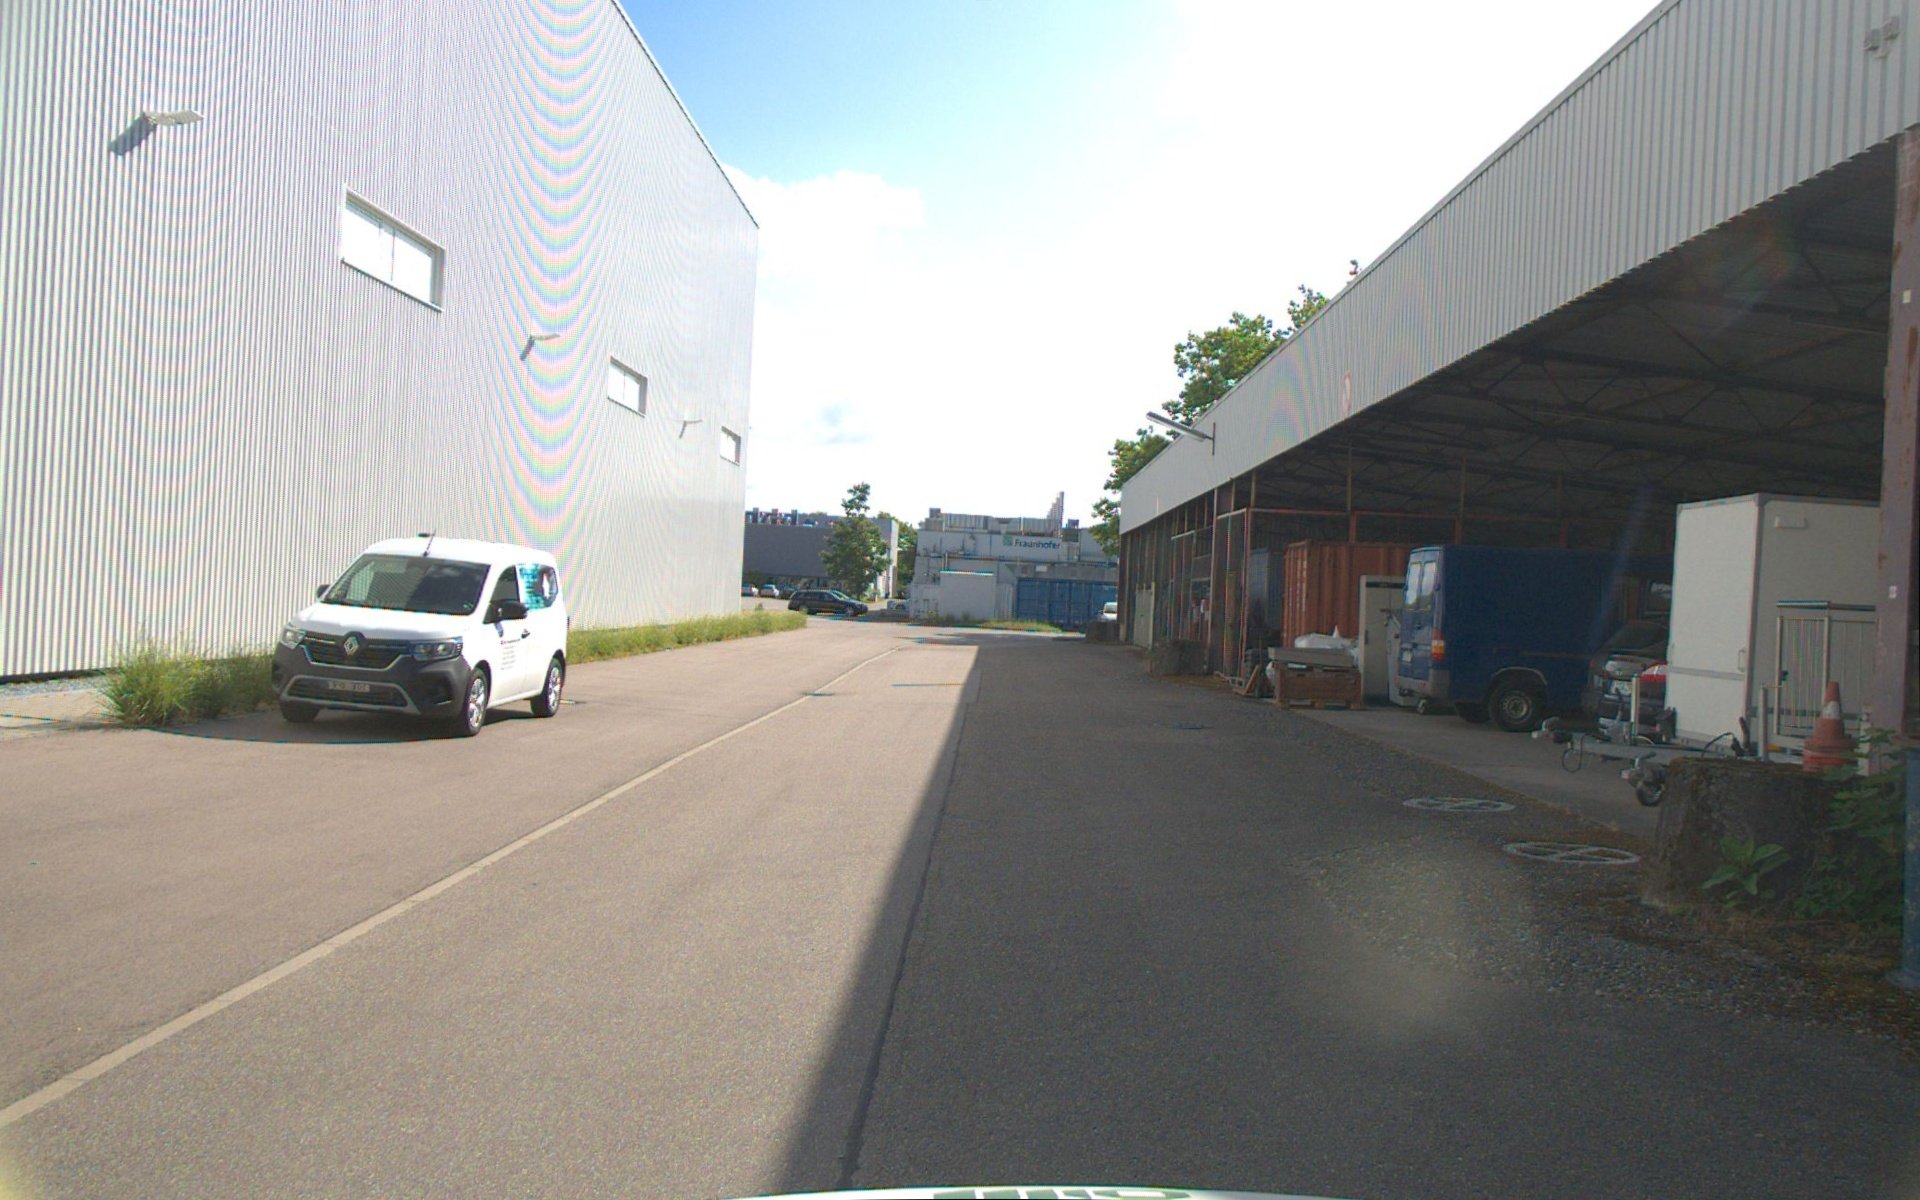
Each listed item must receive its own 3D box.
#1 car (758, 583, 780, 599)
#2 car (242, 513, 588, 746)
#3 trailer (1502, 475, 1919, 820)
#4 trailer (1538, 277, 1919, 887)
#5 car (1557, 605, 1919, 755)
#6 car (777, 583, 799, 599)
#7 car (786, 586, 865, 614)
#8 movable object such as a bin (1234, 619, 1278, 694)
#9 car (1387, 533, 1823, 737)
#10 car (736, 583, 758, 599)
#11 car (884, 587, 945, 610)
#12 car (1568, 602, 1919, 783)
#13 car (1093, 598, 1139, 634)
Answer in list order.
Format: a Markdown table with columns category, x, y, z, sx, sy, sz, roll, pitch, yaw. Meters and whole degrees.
| category | x | y | z | sx | sy | sz | roll | pitch | yaw |
| --- | --- | --- | --- | --- | --- | --- | --- | --- | --- |
| car | -22.662 | -1.062 | 196.121 | 2.148 | 1.766 | 4.000 | 1 | 0 | 0 |
| car | -5.236 | 0.254 | 16.569 | 1.852 | 1.877 | 4.359 | 5 | 0 | 0 |
| trailer | 6.892 | 0.372 | 12.924 | 4.711 | 2.433 | 1.828 | 2 | 0 | 6 |
| trailer | 9.068 | 0.036 | 10.356 | 9.831 | 3.272 | 2.854 | 2 | 0 | 1 |
| car | 9.031 | 0.879 | 18.672 | 3.908 | 1.498 | 1.787 | 2 | 0 | -4 |
| car | -20.187 | -1.061 | 194.381 | 2.148 | 1.766 | 4.000 | 1 | 0 | 0 |
| car | -8.004 | 0.007 | 98.798 | 4.432 | 1.534 | 1.909 | 2 | 0 | 3 |
| movable object such as a bin | 4.891 | 0.919 | 27.364 | 0.569 | 1.185 | 1.239 | 2 | 0 | 5 |
| car | 8.307 | 0.434 | 21.645 | 4.876 | 2.366 | 2.000 | 2 | 0 | 1 |
| car | -25.201 | -1.072 | 195.806 | 1.952 | 1.766 | 4.000 | 1 | 0 | 0 |
| car | -3.461 | -0.122 | 126.348 | 4.432 | 1.534 | 1.909 | 2 | 0 | 2 |
| car | 8.182 | 0.850 | 15.552 | 4.241 | 1.522 | 1.777 | 2 | 0 | -2 |
| car | 8.065 | 0.820 | 85.849 | 1.953 | 1.613 | 4.173 | 2 | 2 | 0 |
